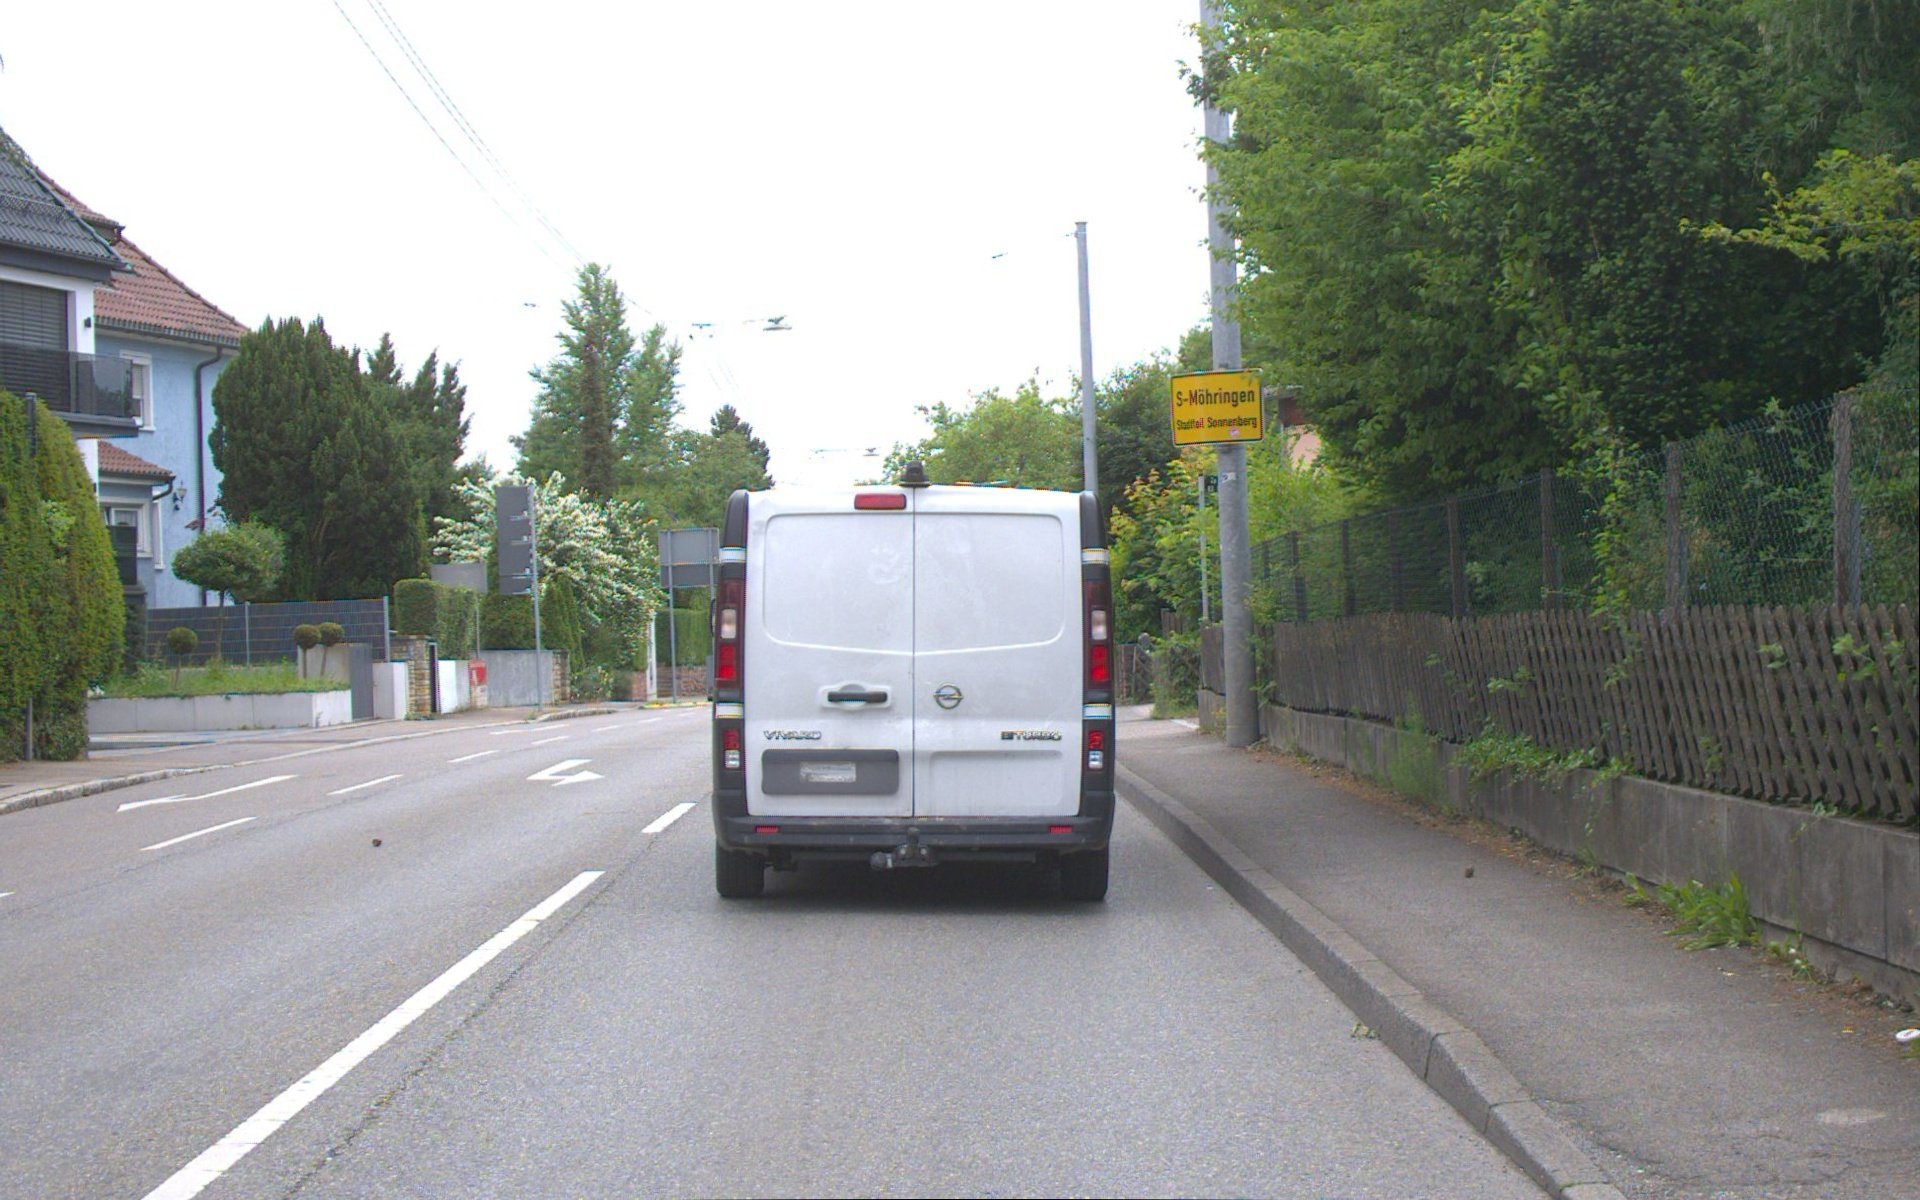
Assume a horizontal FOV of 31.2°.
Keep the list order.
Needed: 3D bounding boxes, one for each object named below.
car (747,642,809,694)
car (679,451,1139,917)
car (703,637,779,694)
[{"bbox_3d":[-5.873,2.213,111.389,1.678,1.551,3.971,-3,-1,0],"label":"car"},{"bbox_3d":[-0.239,0.361,17.646,2.006,2.031,5.010,1,0,0],"label":"car"},{"bbox_3d":[-6.118,1.830,96.546,1.809,1.450,4.413,-4,-1,-1],"label":"car"}]
